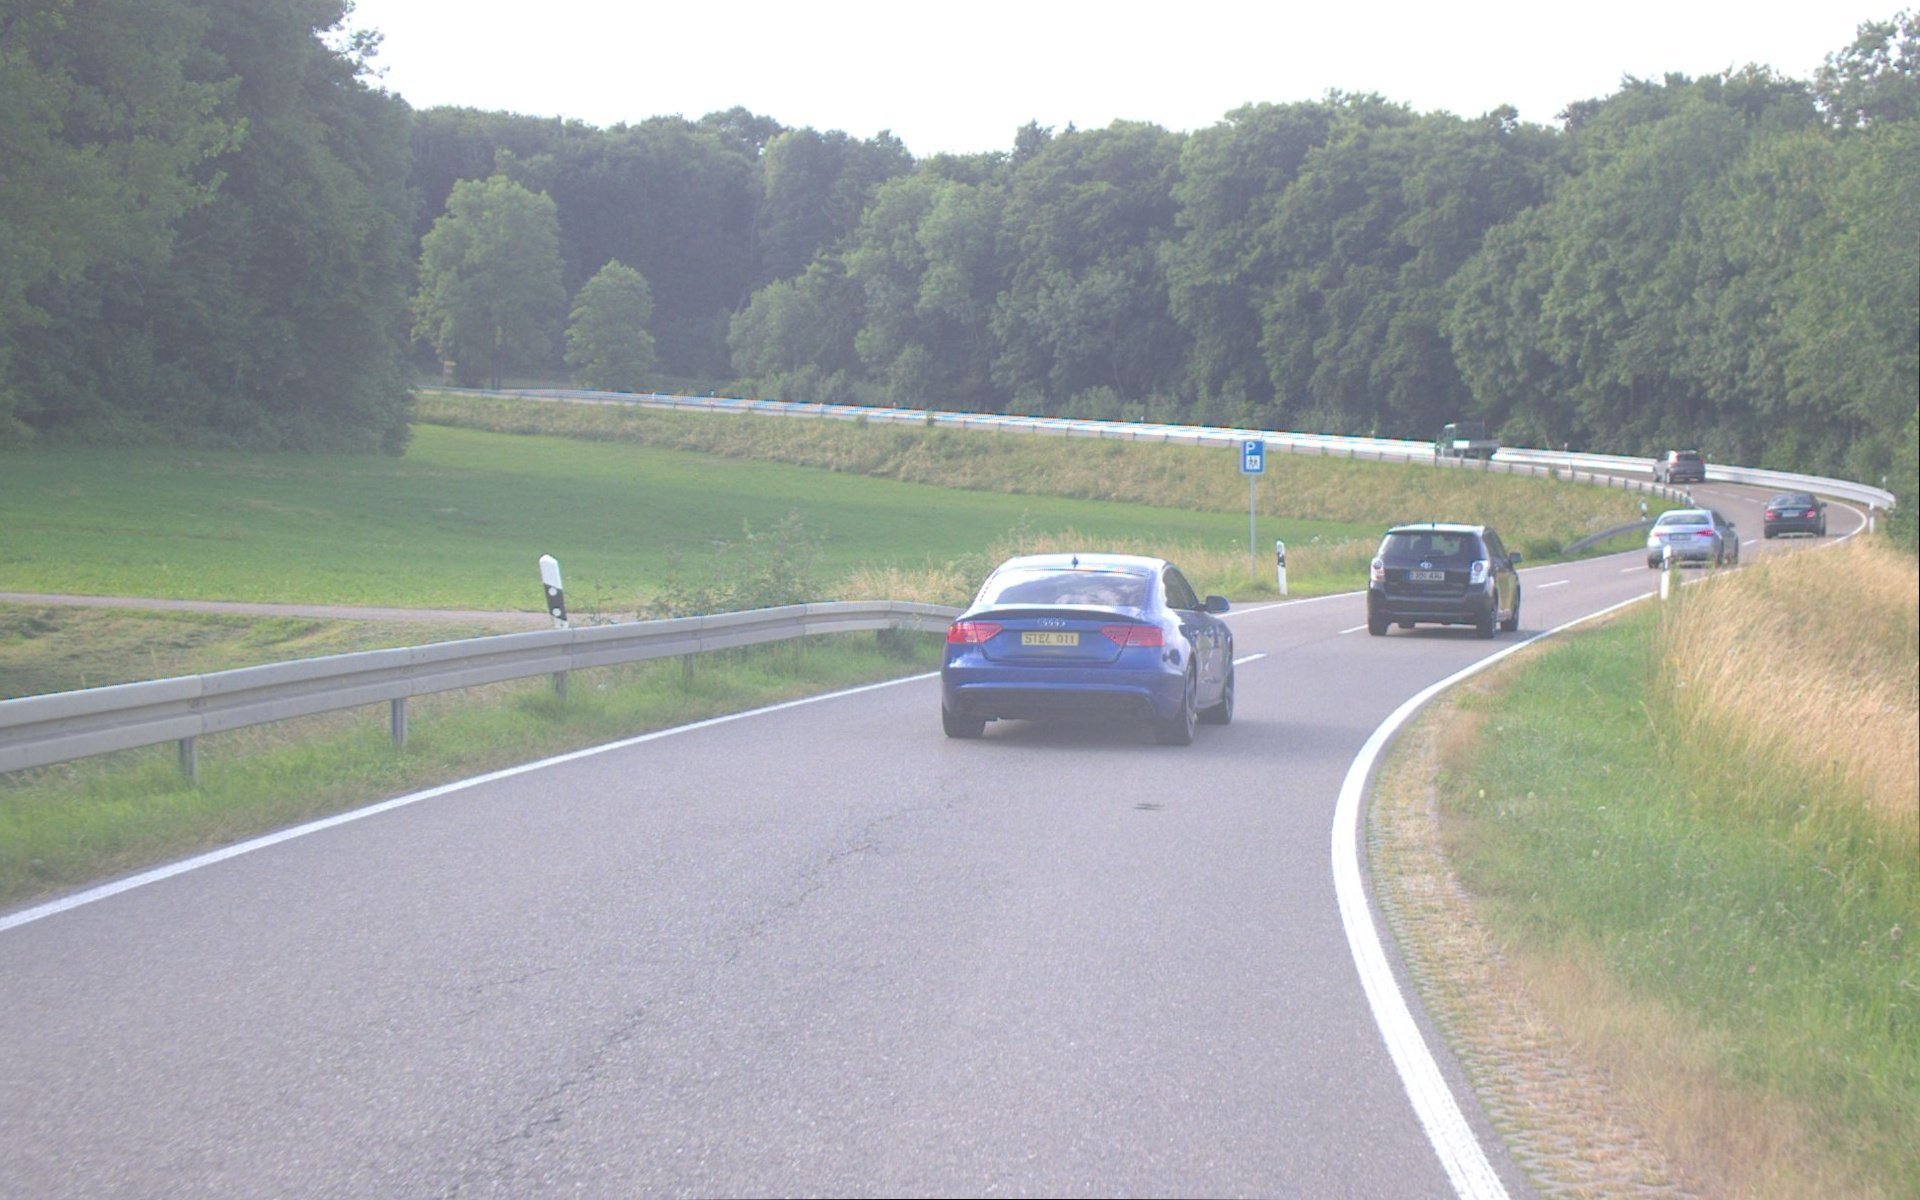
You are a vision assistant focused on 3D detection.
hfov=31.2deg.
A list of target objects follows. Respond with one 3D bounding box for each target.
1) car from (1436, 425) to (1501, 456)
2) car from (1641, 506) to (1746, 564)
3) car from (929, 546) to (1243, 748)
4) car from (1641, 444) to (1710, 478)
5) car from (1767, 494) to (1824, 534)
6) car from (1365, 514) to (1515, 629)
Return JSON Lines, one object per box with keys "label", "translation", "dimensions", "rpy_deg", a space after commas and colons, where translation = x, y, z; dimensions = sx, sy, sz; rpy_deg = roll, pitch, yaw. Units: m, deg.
{"label": "car", "translation": [30.866, -9.694, 208.760], "dimensions": [1.993, 1.765, 4.001], "rpy_deg": [0, 3, -25]}
{"label": "car", "translation": [18.302, -1.630, 85.670], "dimensions": [1.684, 1.371, 3.995], "rpy_deg": [0, 2, 25]}
{"label": "car", "translation": [1.053, 0.292, 26.234], "dimensions": [1.819, 1.334, 4.348], "rpy_deg": [2, 1, 9]}
{"label": "car", "translation": [36.864, -7.162, 177.166], "dimensions": [1.993, 1.673, 4.180], "rpy_deg": [0, 3, -11]}
{"label": "car", "translation": [27.007, -2.793, 111.070], "dimensions": [1.472, 1.223, 3.297], "rpy_deg": [-1, 2, 19]}
{"label": "car", "translation": [7.002, -0.430, 49.880], "dimensions": [1.863, 1.563, 3.998], "rpy_deg": [-1, 1, 12]}
